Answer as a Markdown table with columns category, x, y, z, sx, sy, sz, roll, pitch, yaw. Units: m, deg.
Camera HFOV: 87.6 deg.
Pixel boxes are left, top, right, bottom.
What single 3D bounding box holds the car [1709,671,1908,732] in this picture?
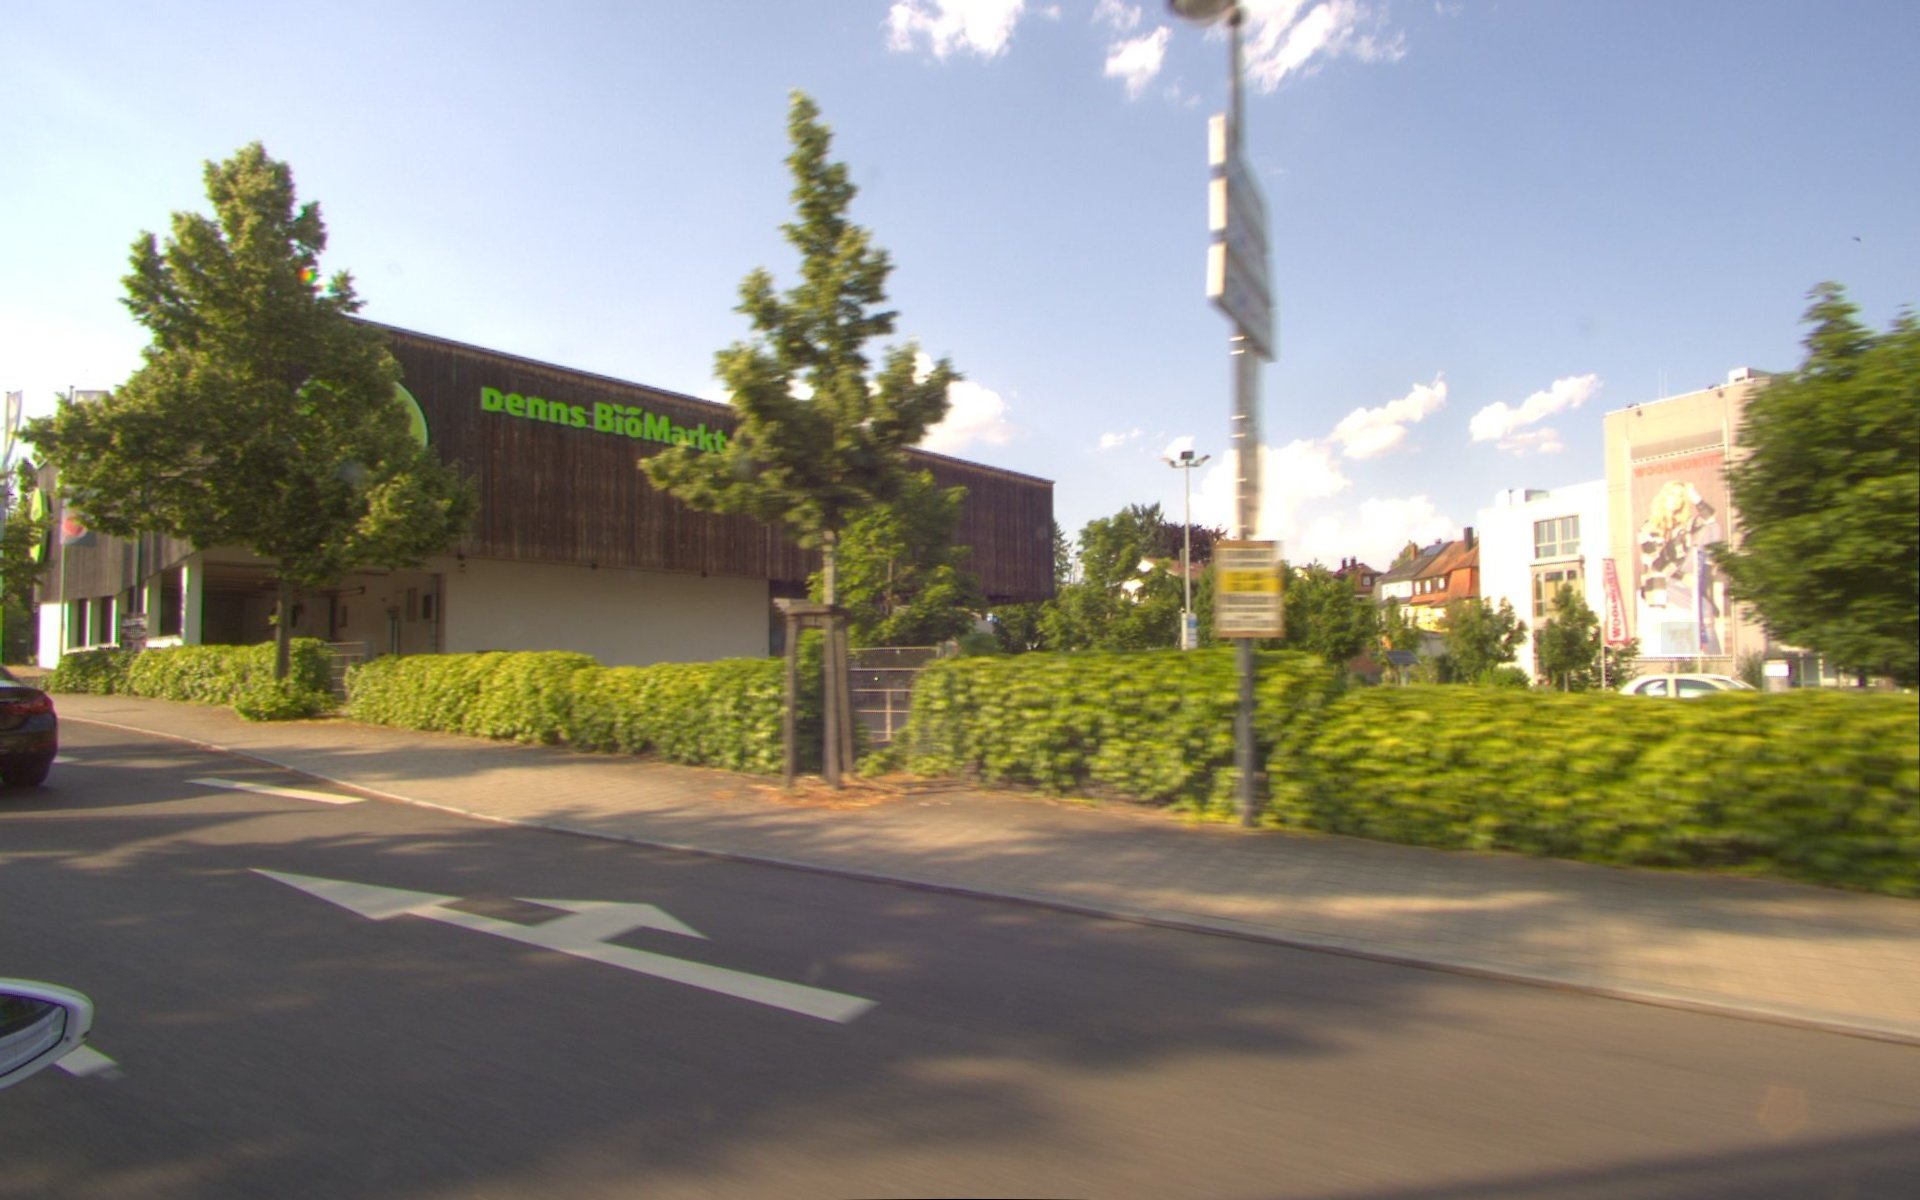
| category | x | y | z | sx | sy | sz | roll | pitch | yaw |
| --- | --- | --- | --- | --- | --- | --- | --- | --- | --- |
| car | 26.331 | 3.099 | 31.184 | 1.980 | 1.668 | 4.507 | 3 | -4 | -42 |

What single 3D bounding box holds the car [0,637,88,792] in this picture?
| category | x | y | z | sx | sy | sz | roll | pitch | yaw |
| --- | --- | --- | --- | --- | --- | --- | --- | --- | --- |
| car | -10.573 | 1.063 | 9.751 | 4.289 | 1.381 | 1.918 | -1 | -2 | 31 |

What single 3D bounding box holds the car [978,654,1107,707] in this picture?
| category | x | y | z | sx | sy | sz | roll | pitch | yaw |
| --- | --- | --- | --- | --- | --- | --- | --- | --- | --- |
| car | 2.774 | 2.669 | 33.905 | 3.954 | 1.648 | 1.986 | -2 | -4 | 40 |

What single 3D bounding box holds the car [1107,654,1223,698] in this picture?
| category | x | y | z | sx | sy | sz | roll | pitch | yaw |
| --- | --- | --- | --- | --- | --- | --- | --- | --- | --- |
| car | 7.895 | 2.911 | 38.738 | 3.954 | 1.570 | 1.986 | -2 | -4 | 40 |

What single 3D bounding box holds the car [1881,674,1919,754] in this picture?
| category | x | y | z | sx | sy | sz | roll | pitch | yaw |
| --- | --- | --- | --- | --- | --- | --- | --- | --- | --- |
| car | 20.060 | 2.136 | 18.320 | 4.490 | 1.461 | 1.988 | -2 | -4 | 37 |

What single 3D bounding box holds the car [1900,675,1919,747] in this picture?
| category | x | y | z | sx | sy | sz | roll | pitch | yaw |
| --- | --- | --- | --- | --- | --- | --- | --- | --- | --- |
| car | 21.887 | 2.295 | 20.285 | 3.903 | 1.461 | 1.988 | -2 | -4 | 37 |

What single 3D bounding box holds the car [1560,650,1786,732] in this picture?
| category | x | y | z | sx | sy | sz | roll | pitch | yaw |
| --- | --- | --- | --- | --- | --- | --- | --- | --- | --- |
| car | 17.096 | 2.156 | 24.143 | 4.269 | 1.743 | 1.881 | -2 | -6 | 42 |
